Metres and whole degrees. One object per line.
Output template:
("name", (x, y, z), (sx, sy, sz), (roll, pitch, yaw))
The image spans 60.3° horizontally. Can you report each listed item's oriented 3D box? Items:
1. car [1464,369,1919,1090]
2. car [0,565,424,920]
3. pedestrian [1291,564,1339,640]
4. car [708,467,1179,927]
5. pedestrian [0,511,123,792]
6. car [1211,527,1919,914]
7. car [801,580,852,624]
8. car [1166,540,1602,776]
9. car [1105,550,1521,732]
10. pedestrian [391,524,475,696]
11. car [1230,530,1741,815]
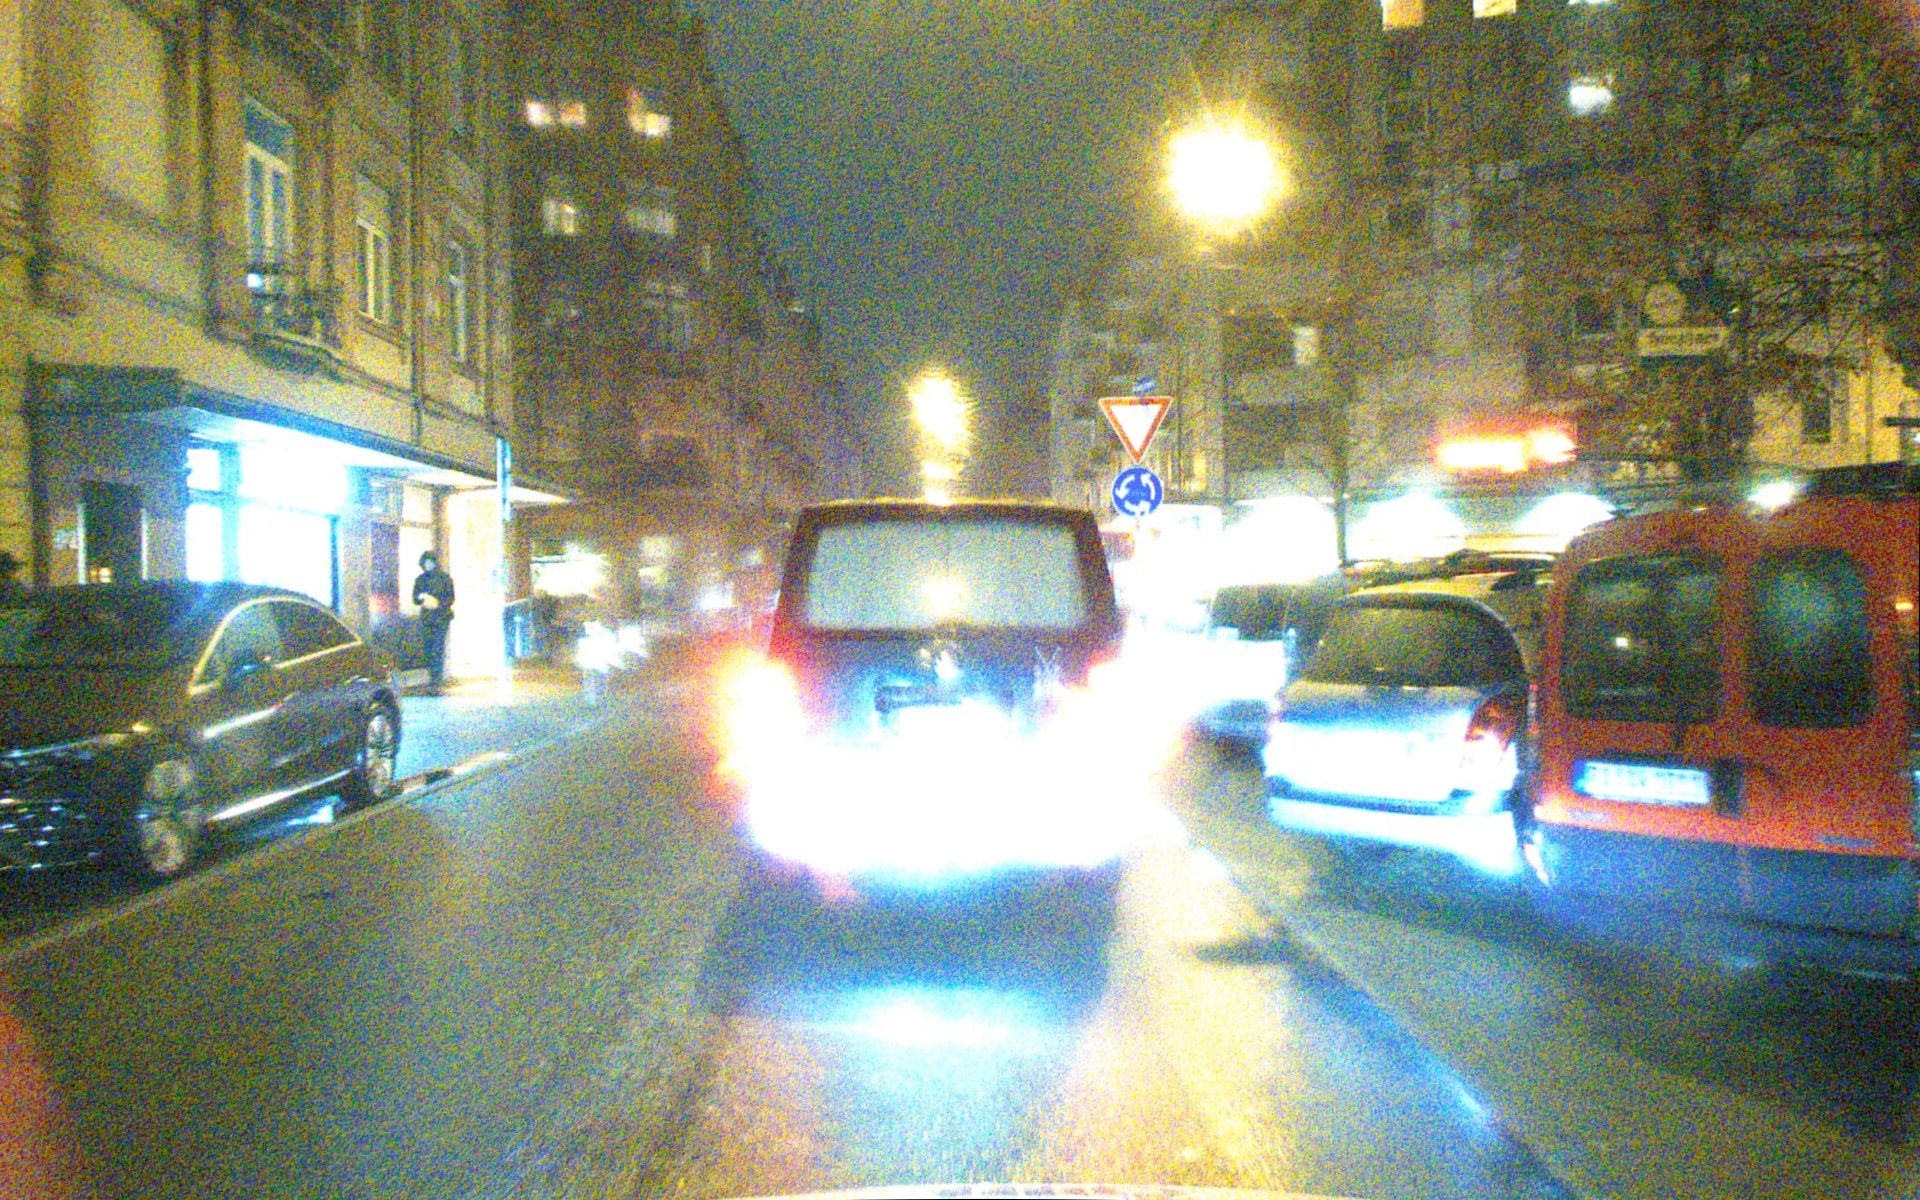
("car", (3.827, 0.310, 6.375), (3.700, 2.064, 1.699), (-3, 1, -37))
("car", (-4.783, 0.600, 9.513), (1.809, 1.504, 5.030), (0, 0, -1))
("pedestrian", (8.877, 0.054, 41.357), (0.861, 1.865, 0.980), (-1, 0, 35))
("car", (-0.099, 0.417, 9.642), (2.079, 2.026, 4.600), (0, 0, -1))
("pedestrian", (-6.816, 0.350, 11.832), (0.936, 1.896, 1.414), (-1, 0, -2))
("car", (3.502, 0.496, 9.207), (4.028, 1.625, 1.811), (-3, 1, -36))
("car", (-4.876, 0.051, 60.699), (1.554, 1.489, 4.023), (2, 0, -1))
("car", (3.800, 0.427, 14.631), (3.699, 1.742, 1.749), (-3, 1, -36))
("car", (3.786, 0.369, 17.577), (4.205, 1.601, 1.754), (-3, 1, -30))
("pedestrian", (-7.185, 0.134, 22.592), (0.783, 2.280, 1.116), (-1, 0, -2))
("car", (3.991, 0.432, 12.358), (3.752, 1.742, 1.726), (-3, 1, -36))
